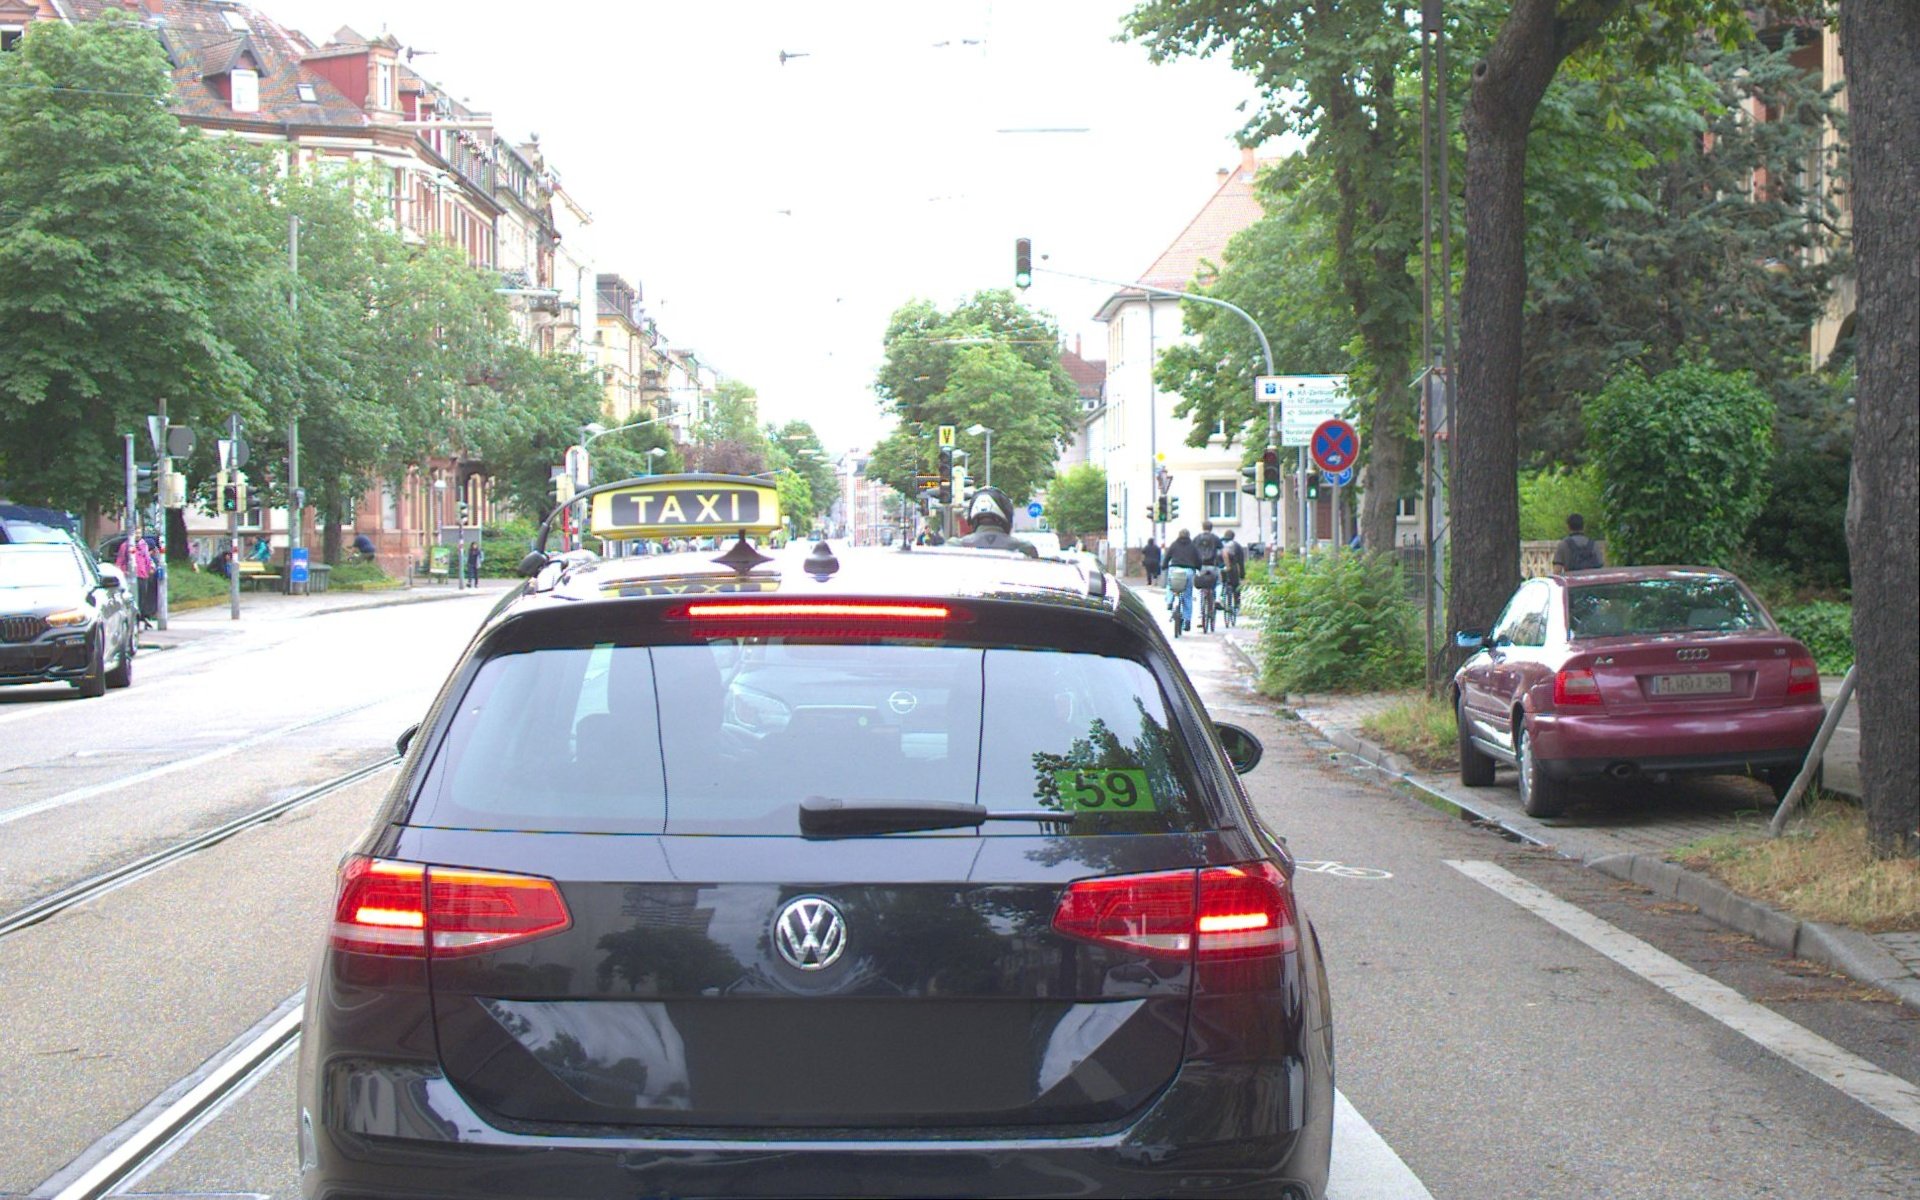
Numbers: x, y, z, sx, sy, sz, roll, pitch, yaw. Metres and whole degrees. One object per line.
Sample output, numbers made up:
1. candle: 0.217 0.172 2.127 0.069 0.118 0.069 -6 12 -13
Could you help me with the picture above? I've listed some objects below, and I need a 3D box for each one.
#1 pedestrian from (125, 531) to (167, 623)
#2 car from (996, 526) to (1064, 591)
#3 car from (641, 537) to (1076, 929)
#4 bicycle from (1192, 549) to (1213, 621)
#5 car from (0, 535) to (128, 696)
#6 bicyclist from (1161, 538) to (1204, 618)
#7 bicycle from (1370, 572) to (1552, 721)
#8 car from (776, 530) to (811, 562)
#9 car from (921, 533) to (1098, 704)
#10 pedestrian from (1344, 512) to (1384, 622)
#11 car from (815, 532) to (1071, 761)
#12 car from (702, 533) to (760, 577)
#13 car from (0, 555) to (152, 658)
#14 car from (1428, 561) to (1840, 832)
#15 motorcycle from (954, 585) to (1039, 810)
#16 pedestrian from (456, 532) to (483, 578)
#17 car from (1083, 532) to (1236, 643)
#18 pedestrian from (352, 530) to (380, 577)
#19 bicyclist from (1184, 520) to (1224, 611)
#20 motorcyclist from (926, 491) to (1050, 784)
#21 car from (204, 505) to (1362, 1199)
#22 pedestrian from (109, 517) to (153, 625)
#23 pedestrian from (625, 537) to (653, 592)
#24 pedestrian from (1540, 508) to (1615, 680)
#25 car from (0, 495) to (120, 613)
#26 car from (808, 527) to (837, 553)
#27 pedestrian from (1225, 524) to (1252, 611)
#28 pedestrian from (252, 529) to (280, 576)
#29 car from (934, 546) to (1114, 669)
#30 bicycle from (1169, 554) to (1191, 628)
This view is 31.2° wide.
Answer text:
1. pedestrian: -14.776 -0.428 62.418 0.589 1.657 0.839 0 1 -4
2. car: 2.217 -1.313 109.930 2.033 2.007 4.000 1 1 -1
3. car: -0.424 0.493 15.654 1.723 1.541 4.000 0 1 -1
4. bicycle: 4.187 -0.270 59.297 0.297 1.219 1.430 0 1 7
5. car: -10.292 0.149 37.604 1.882 1.606 4.889 -3 1 -9
6. bicyclist: 3.652 -0.366 56.412 0.651 1.297 0.695 0 1 7
7. bicycle: 4.158 0.378 28.437 0.433 1.194 1.899 1 0 45
8. car: -8.843 -2.880 182.536 1.721 1.617 3.864 -1 1 -1
9. car: 0.438 0.153 33.474 1.606 1.550 3.578 1 1 -1
10. pedestrian: 6.820 -0.561 58.068 0.514 1.824 0.417 -3 1 16
11. car: -0.138 0.273 25.227 1.723 1.541 4.000 0 1 -1
12. car: -9.491 -1.861 142.771 1.993 1.784 4.000 1 1 1
13. car: -13.025 0.064 50.150 1.648 1.357 4.130 2 1 -3
14. car: 4.003 0.508 21.064 1.602 1.394 4.227 -2 1 -1
15. motorcycle: 0.203 0.547 20.281 0.446 1.231 1.907 -1 1 -1
16. pedestrian: -16.104 -1.475 112.942 0.589 1.515 0.647 0 1 35
17. car: 2.959 -0.197 51.717 1.993 1.572 4.000 1 1 -1
18. pedestrian: -19.035 -1.489 110.191 0.589 1.515 0.647 0 1 35
19. bicyclist: 4.211 -0.602 59.365 0.651 1.563 0.695 0 1 6
20. motorcyclist: 0.159 0.208 20.275 0.703 1.686 0.804 -1 1 -1
21. car: -0.287 0.590 7.129 1.723 1.541 4.000 0 1 -1
22. pedestrian: -14.281 -0.502 59.256 0.623 1.836 0.610 0 1 -3
23. pedestrian: -8.930 -0.986 95.631 0.714 1.515 0.590 0 1 1
24. pedestrian: 6.583 -0.068 36.651 0.632 1.808 0.726 0 1 -3
25. car: -20.059 -0.982 72.521 2.180 2.409 5.377 -1 1 -43
26. car: -8.598 -3.768 215.818 1.721 1.617 3.864 0 1 -1
27. pedestrian: 5.055 -0.591 62.445 0.450 1.556 0.479 0 1 7
28. pedestrian: -22.330 -1.539 110.663 0.589 1.515 0.647 0 1 35
29. car: 0.841 0.065 42.442 1.892 1.403 3.999 -1 1 6
30. bicycle: 3.610 -0.147 56.342 0.252 1.192 1.156 0 1 8
